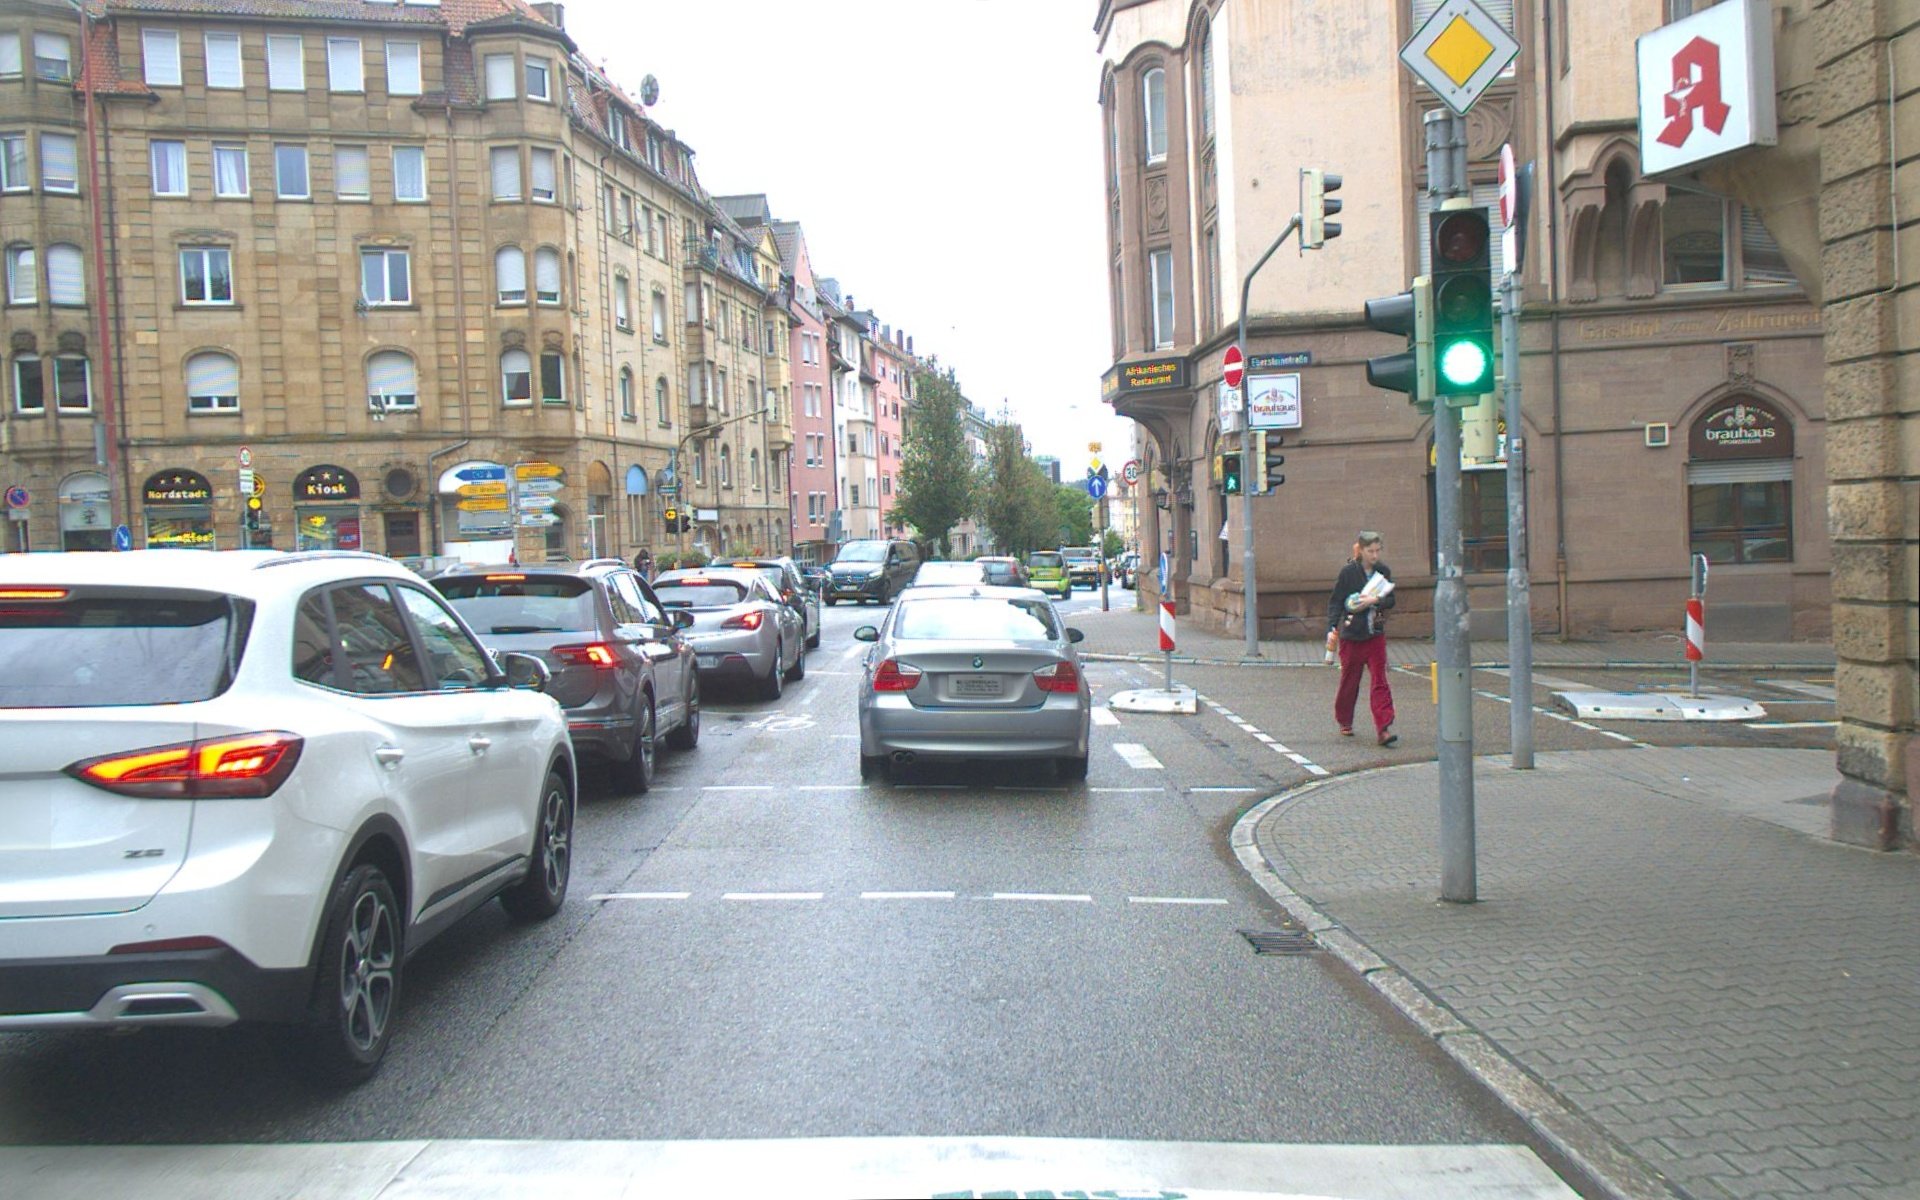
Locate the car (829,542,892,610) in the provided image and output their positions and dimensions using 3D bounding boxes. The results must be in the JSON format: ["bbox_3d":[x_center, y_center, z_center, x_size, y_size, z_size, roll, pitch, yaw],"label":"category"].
[{"bbox_3d":[-3.003,-0.707,49.478,1.708,1.878,4.142,-2,1,-5],"label":"car"}]

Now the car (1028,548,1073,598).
[{"bbox_3d":[2.996,-0.896,54.914,1.418,1.593,3.334,-1,0,3],"label":"car"}]

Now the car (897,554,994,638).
[{"bbox_3d":[-0.220,-0.089,30.991,1.647,1.453,3.742,-1,1,2],"label":"car"}]

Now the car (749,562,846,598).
[{"bbox_3d":[-7.430,-0.924,75.706,4.059,1.537,1.875,-1,1,7],"label":"car"}]

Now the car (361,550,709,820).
[{"bbox_3d":[-3.098,0.494,12.942,1.717,1.673,4.212,-1,3,-2],"label":"car"}]

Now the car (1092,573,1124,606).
[{"bbox_3d":[8.960,-0.618,99.836,1.774,1.937,4.003,1,0,7],"label":"car"}]

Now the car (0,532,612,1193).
[{"bbox_3d":[-2.616,0.656,6.389,1.717,1.673,4.377,-1,0,-2],"label":"car"}]

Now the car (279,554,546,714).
[{"bbox_3d":[-6.661,0.337,20.564,1.679,1.521,3.686,-8,2,4],"label":"car"}]

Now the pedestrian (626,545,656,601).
[{"bbox_3d":[-10.001,-0.861,51.826,0.815,1.731,0.634,-1,1,-22],"label":"pedestrian"}]

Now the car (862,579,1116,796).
[{"bbox_3d":[0.146,0.580,13.228,1.733,1.453,3.740,1,1,-2],"label":"car"}]

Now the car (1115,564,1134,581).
[{"bbox_3d":[17.129,-2.869,171.822,1.839,1.761,4.681,0,1,7],"label":"car"}]

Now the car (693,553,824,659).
[{"bbox_3d":[-3.187,0.075,26.850,1.717,1.562,4.213,-1,0,-2],"label":"car"}]

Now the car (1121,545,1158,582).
[{"bbox_3d":[10.047,-2.020,92.326,1.879,1.859,5.013,-3,1,7],"label":"car"}]

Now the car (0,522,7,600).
[{"bbox_3d":[-29.738,-1.102,47.325,4.694,2.206,1.998,0,1,26],"label":"car"}]

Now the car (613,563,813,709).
[{"bbox_3d":[-2.833,0.339,19.840,1.716,1.508,4.181,-1,2,0],"label":"car"}]

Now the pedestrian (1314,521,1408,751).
[{"bbox_3d":[3.582,0.289,14.830,0.683,1.983,1.092,0,2,6],"label":"pedestrian"}]

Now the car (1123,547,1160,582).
[{"bbox_3d":[9.499,-1.842,86.341,1.839,1.761,4.680,-1,1,7],"label":"car"}]

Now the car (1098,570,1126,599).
[{"bbox_3d":[10.012,-0.975,108.635,1.740,1.829,4.003,1,0,7],"label":"car"}]

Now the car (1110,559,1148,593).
[{"bbox_3d":[8.256,-1.182,80.914,1.761,1.592,4.496,-1,1,6],"label":"car"}]

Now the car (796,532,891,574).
[{"bbox_3d":[-5.660,-2.300,80.794,4.581,1.972,1.862,0,1,-3],"label":"car"}]

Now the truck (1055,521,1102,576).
[{"bbox_3d":[5.551,-2.347,76.861,1.989,2.454,4.830,-1,0,6],"label":"truck"}]

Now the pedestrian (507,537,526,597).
[{"bbox_3d":[-13.530,-1.017,50.458,0.514,1.805,0.690,-1,1,-17],"label":"pedestrian"}]

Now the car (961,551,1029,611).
[{"bbox_3d":[0.976,-0.510,44.282,1.662,1.509,3.795,-1,0,3],"label":"car"}]
